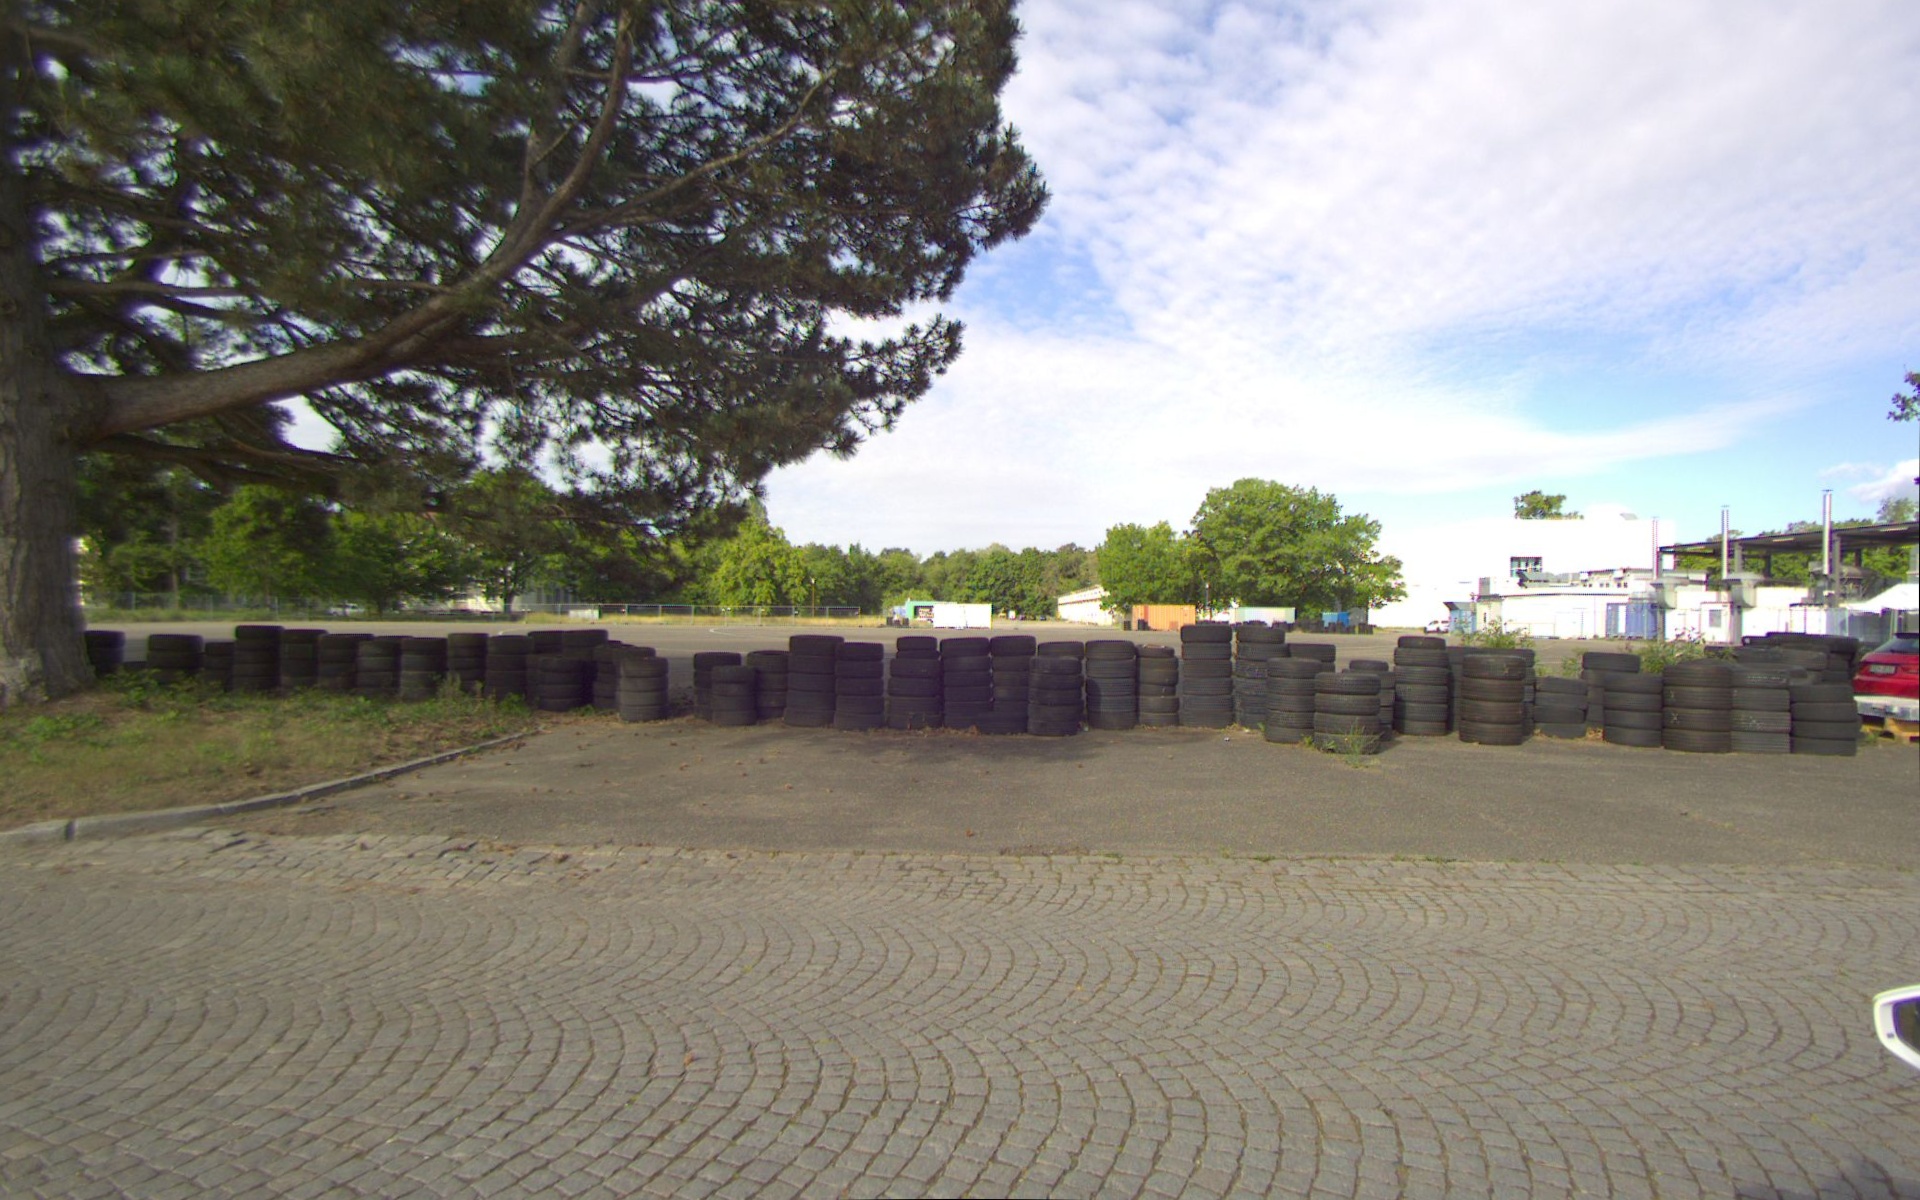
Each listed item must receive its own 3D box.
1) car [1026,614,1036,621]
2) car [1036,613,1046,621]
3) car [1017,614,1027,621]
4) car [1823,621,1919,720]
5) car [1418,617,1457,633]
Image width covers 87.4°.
[{"bbox_3d":[17.764,4.334,251.777,1.998,1.832,3.999,1,-1,-1],"label":"car"},{"bbox_3d":[20.262,4.268,251.741,1.961,1.773,3.999,1,-1,-1],"label":"car"},{"bbox_3d":[15.528,4.334,251.623,1.961,1.773,3.999,1,-1,-1],"label":"car"},{"bbox_3d":[16.431,1.112,15.860,3.919,1.483,1.729,1,0,8],"label":"car"},{"bbox_3d":[50.090,2.635,105.404,1.838,1.585,4.547,1,-1,-1],"label":"car"}]
